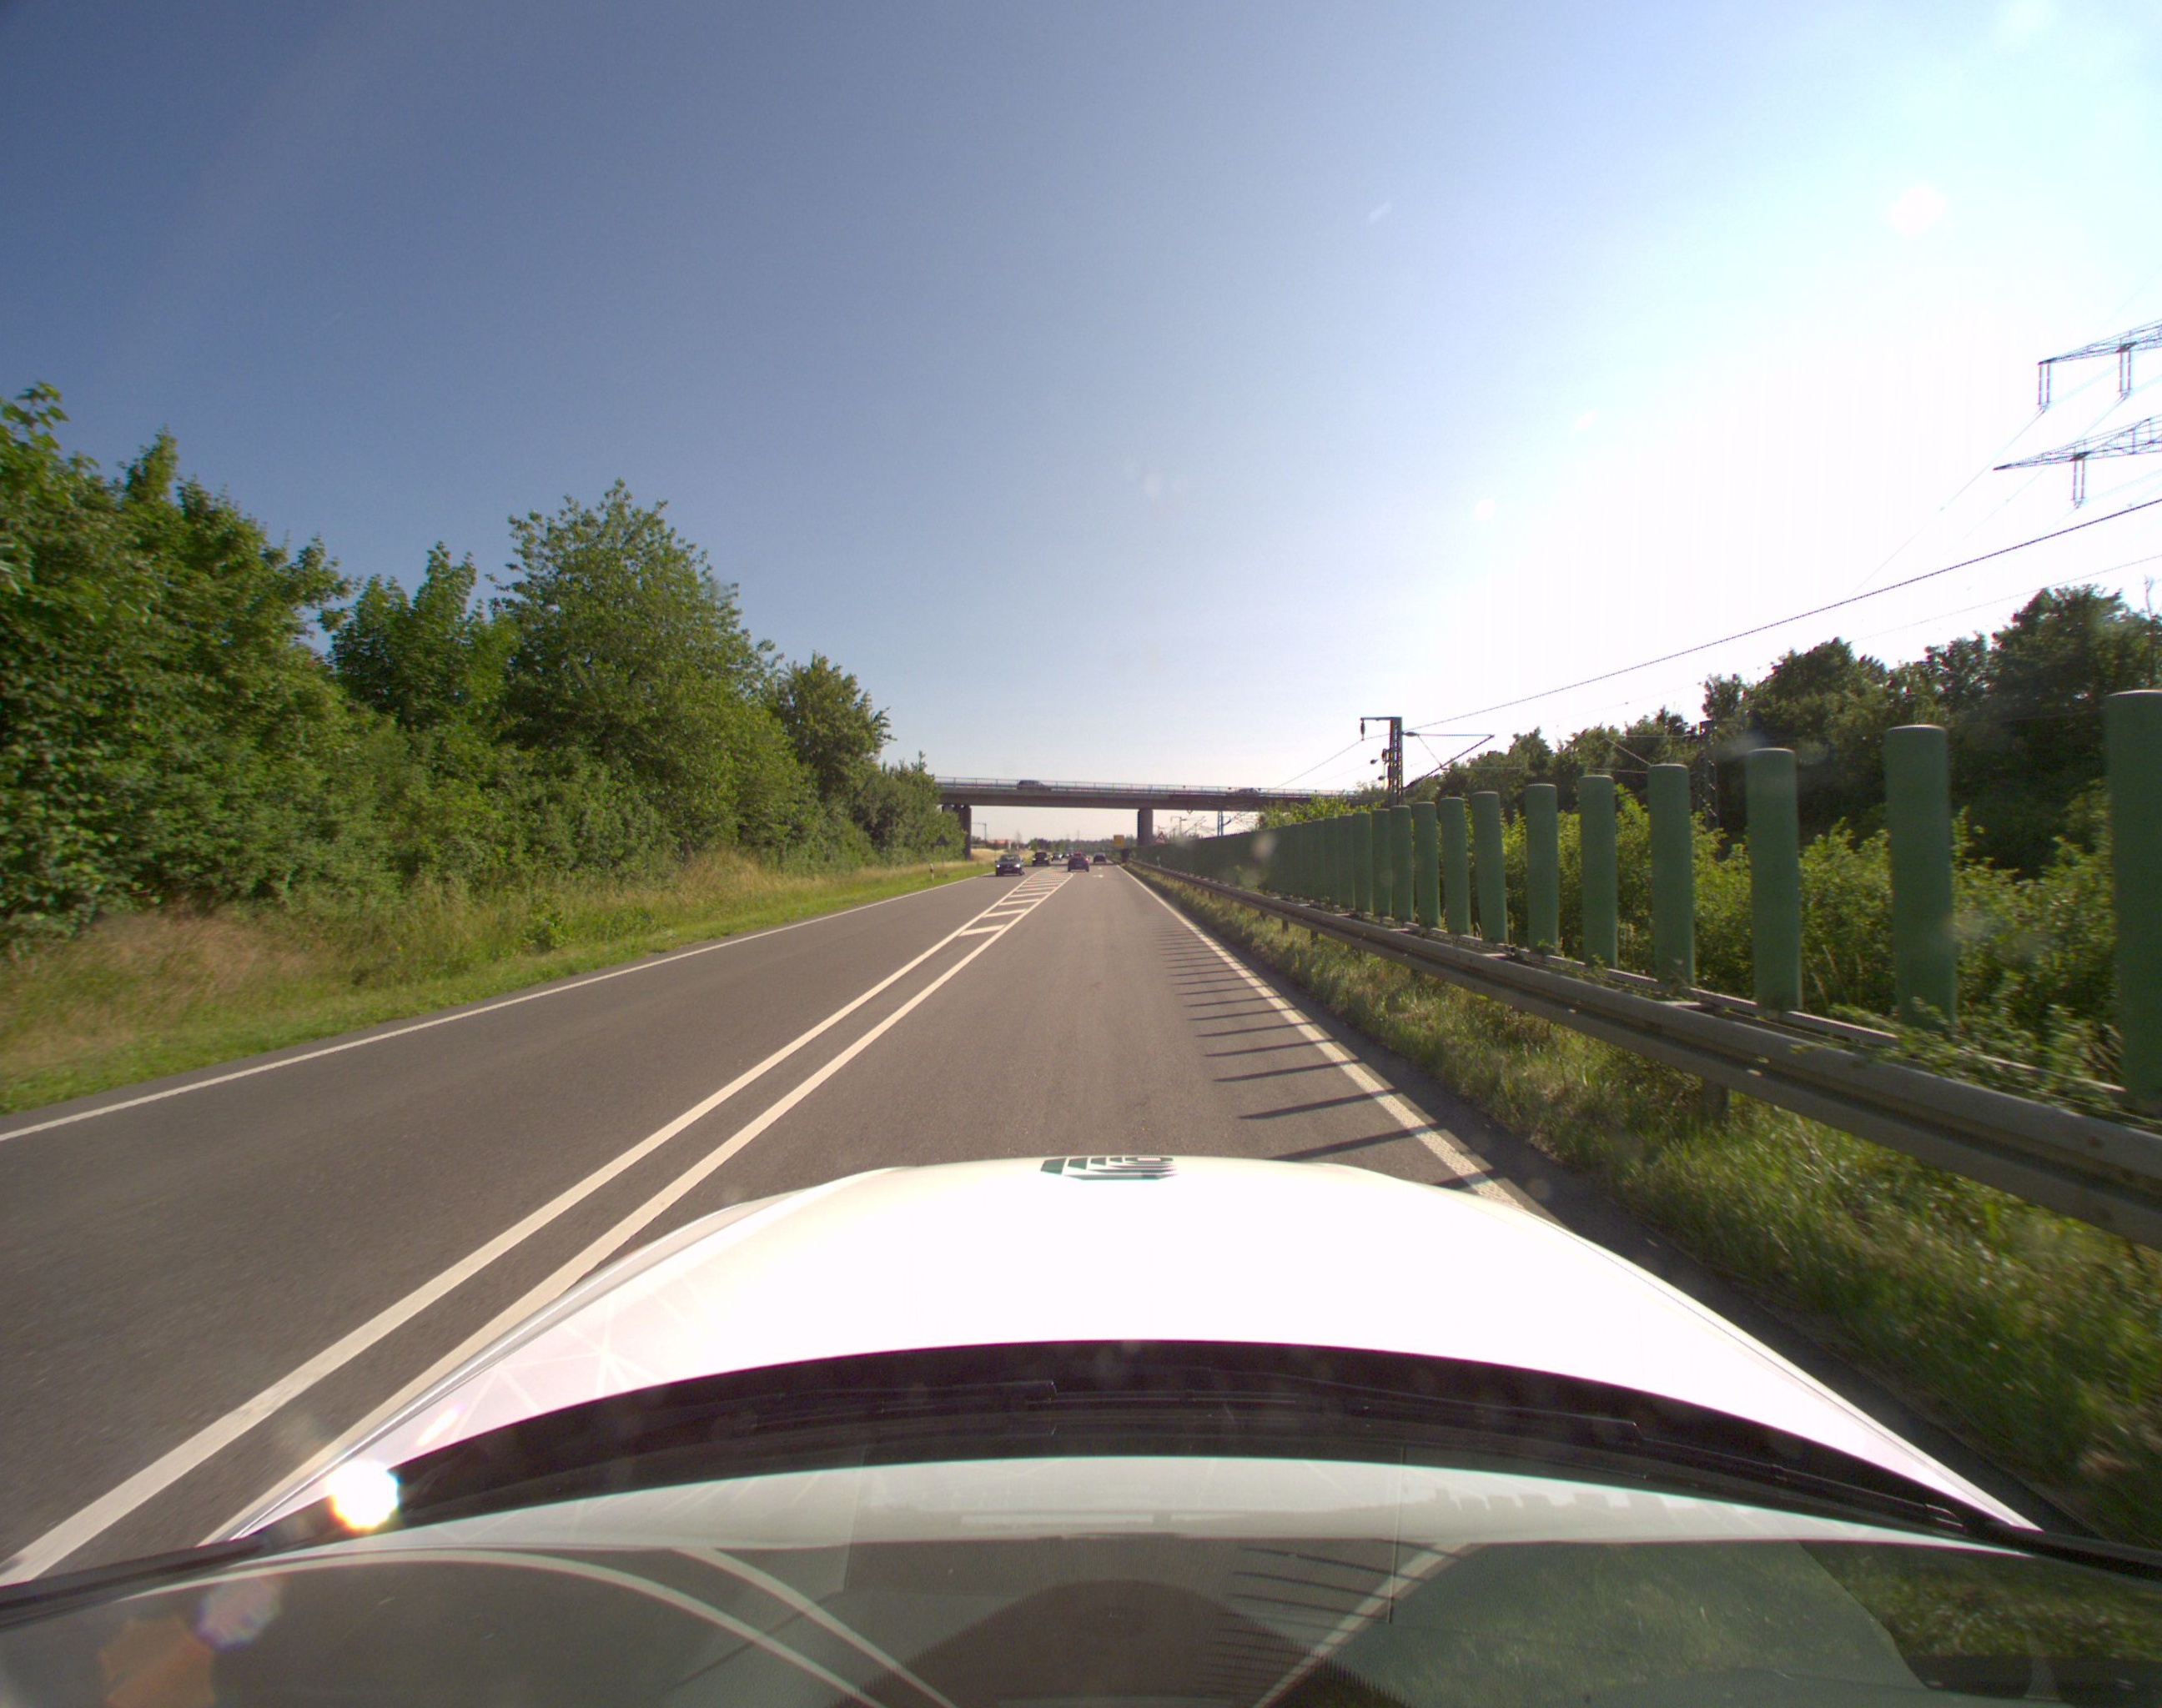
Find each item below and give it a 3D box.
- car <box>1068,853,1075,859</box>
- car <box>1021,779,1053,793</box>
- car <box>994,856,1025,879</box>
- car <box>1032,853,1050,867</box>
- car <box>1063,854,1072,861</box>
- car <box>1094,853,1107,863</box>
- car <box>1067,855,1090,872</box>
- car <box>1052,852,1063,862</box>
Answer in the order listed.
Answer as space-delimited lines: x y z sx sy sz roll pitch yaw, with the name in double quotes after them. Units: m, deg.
-2.746 0.648 234.857 1.888 1.630 4.001 -1 0 1 "car"
-5.061 -7.874 94.325 3.381 1.318 1.567 0 0 -23 "car"
-4.790 0.894 54.876 1.744 1.481 3.999 -1 0 -1 "car"
-4.619 0.671 94.834 1.917 1.593 4.427 2 0 -1 "car"
-3.182 0.790 187.077 1.888 1.630 4.001 -1 0 1 "car"
2.790 0.546 115.841 1.888 1.418 4.001 -1 0 1 "car"
-0.176 0.738 63.754 1.657 1.261 4.001 -1 0 1 "car"
-4.186 0.561 144.967 1.840 1.630 3.999 -1 0 -1 "car"
